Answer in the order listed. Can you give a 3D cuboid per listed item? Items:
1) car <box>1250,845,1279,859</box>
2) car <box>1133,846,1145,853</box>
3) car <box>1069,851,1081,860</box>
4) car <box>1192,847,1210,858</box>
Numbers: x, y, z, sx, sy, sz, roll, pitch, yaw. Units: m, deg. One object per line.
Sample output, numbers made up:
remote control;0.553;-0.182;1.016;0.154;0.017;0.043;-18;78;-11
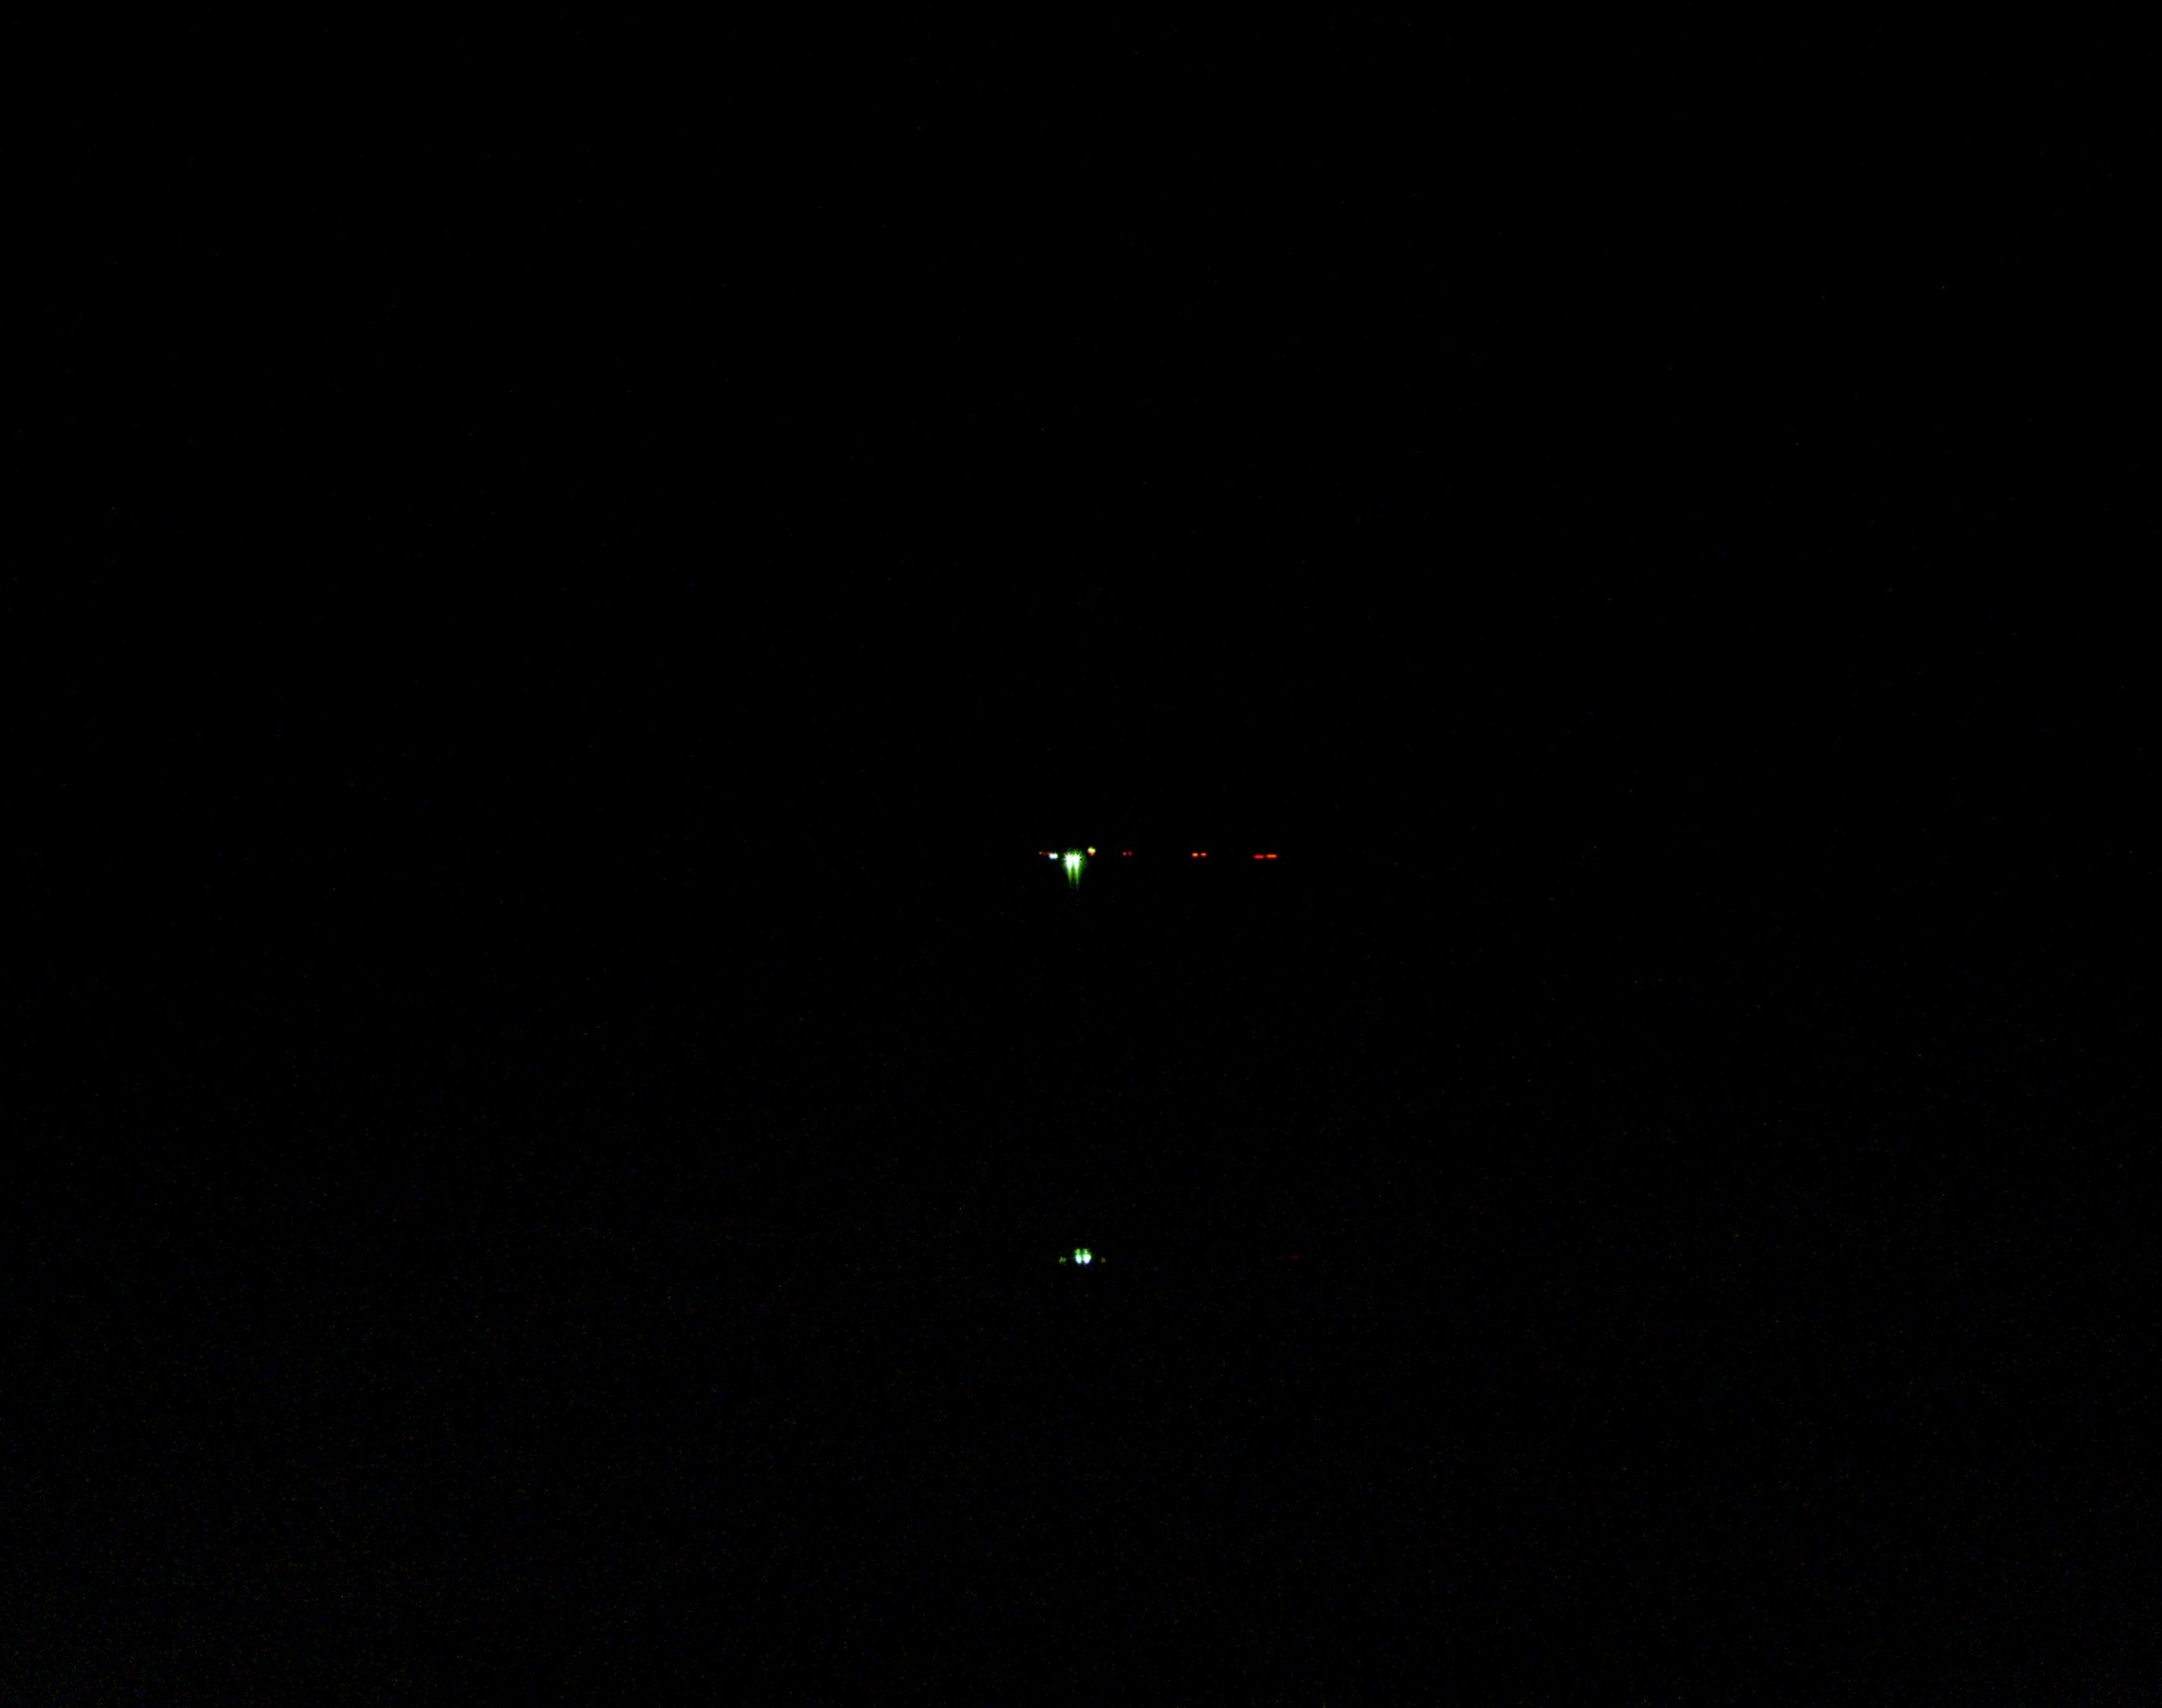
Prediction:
car;19.567;-0.226;81.143;1.998;1.324;4.398;-2;1;0
car;12.927;-1.052;169.472;1.999;1.460;4.206;-2;1;-2
car;-1.237;0.281;146.342;2.155;1.558;4.579;-2;1;-2
car;19.207;-0.329;121.859;1.999;1.641;4.398;-2;1;0
